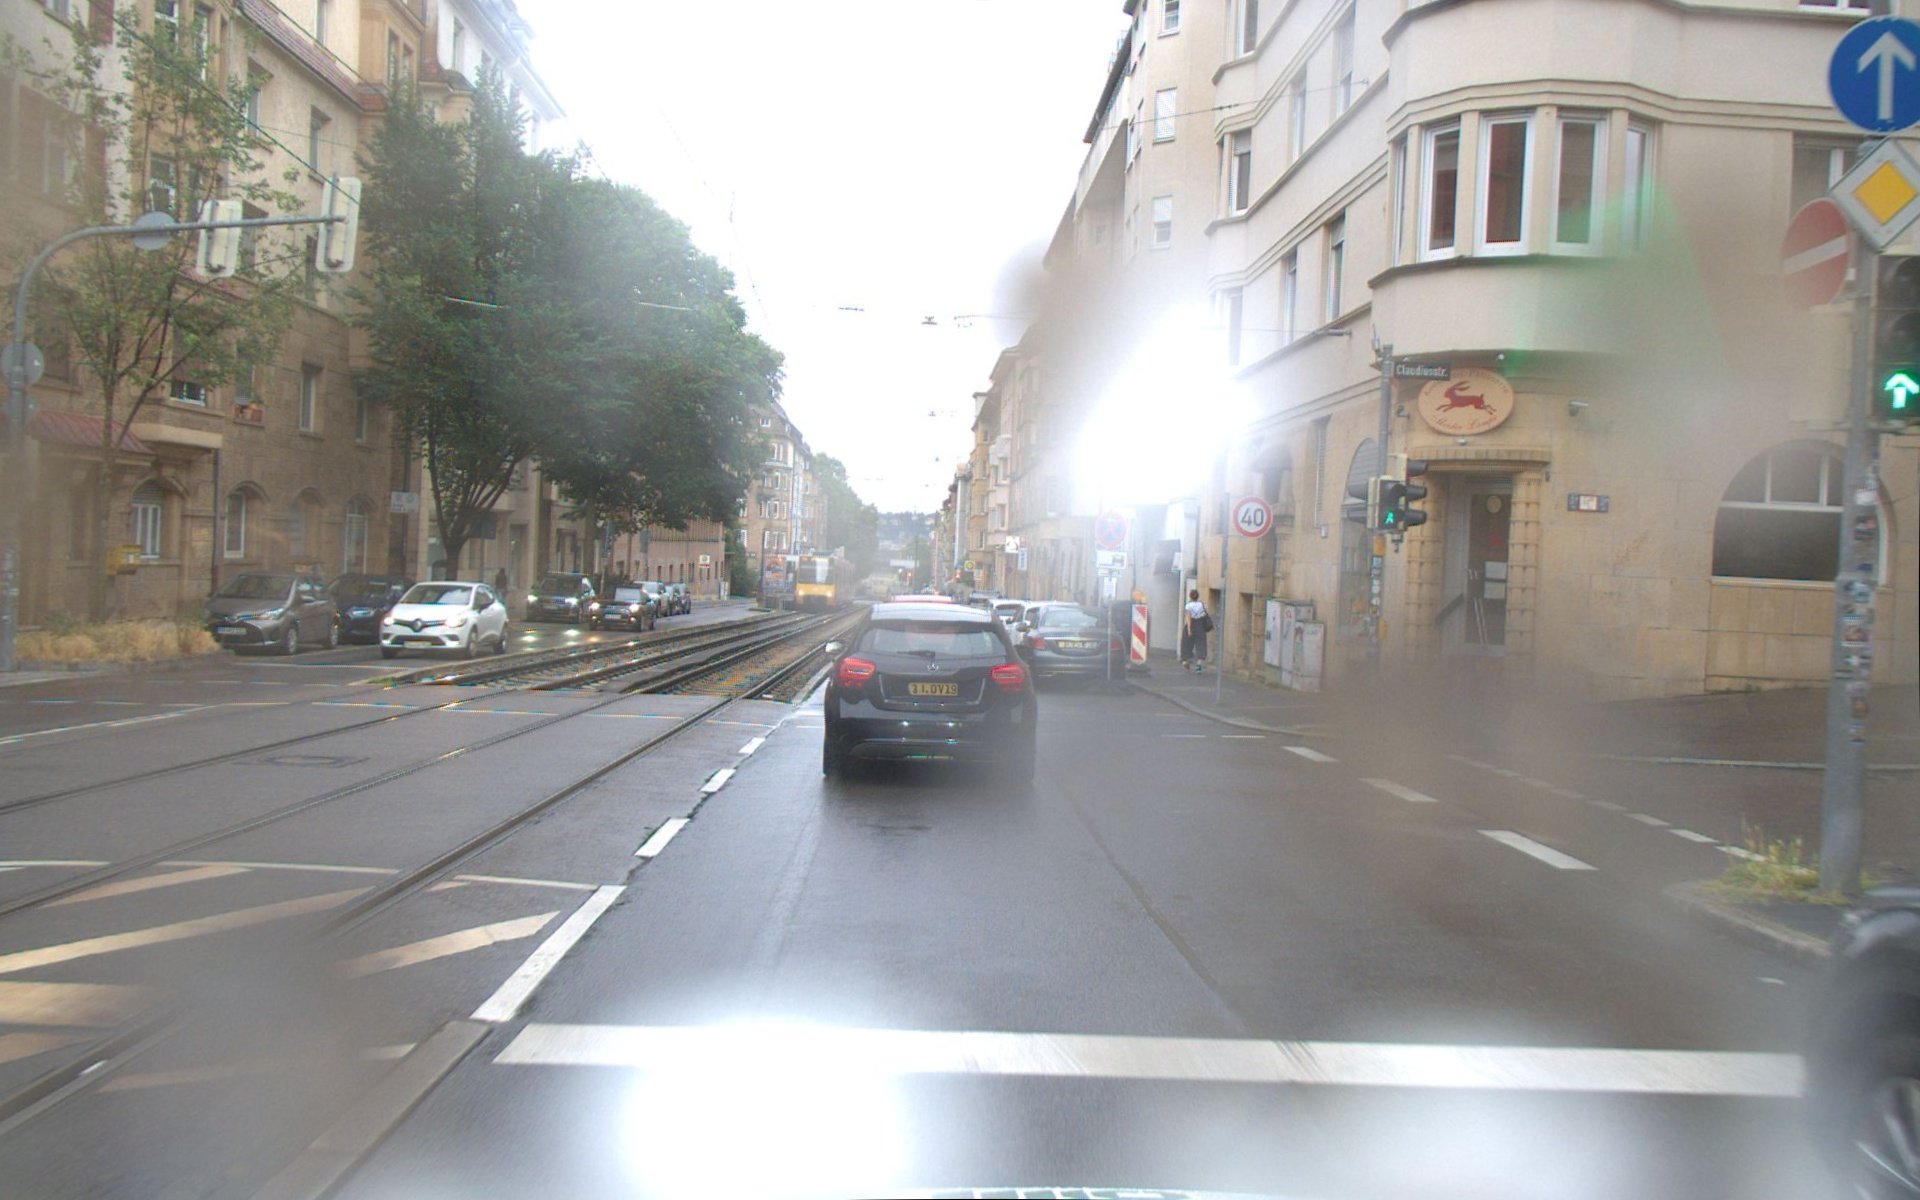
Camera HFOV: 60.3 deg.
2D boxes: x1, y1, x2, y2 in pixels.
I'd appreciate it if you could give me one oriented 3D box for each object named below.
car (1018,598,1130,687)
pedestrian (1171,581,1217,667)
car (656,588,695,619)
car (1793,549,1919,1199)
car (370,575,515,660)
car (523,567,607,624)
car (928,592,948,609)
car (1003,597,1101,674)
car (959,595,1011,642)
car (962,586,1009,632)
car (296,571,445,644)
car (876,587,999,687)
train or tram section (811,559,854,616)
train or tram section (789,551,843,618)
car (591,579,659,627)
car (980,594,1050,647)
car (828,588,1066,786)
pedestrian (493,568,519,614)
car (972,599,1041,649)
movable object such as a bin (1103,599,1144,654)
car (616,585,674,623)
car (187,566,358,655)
[{"bbox_3d":[1.974,0.726,29.754,1.675,1.435,4.817,1,-1,0],"label":"car"},{"bbox_3d":[4.759,0.479,33.692,0.788,1.717,0.754,1,-1,-2],"label":"pedestrian"},{"bbox_3d":[-14.421,0.179,83.976,1.541,1.492,3.043,2,0,-3],"label":"car"},{"bbox_3d":[2.999,0.707,2.039,1.830,1.576,3.990,2,0,-1],"label":"car"},{"bbox_3d":[-10.123,0.352,32.655,1.745,1.529,4.060,1,-1,-3],"label":"car"},{"bbox_3d":[-13.785,-0.162,57.984,1.914,1.772,4.776,5,0,-3],"label":"car"},{"bbox_3d":[-2.103,0.058,159.578,1.848,1.552,4.245,2,0,0],"label":"car"},{"bbox_3d":[1.884,0.727,35.120,1.677,1.493,4.772,1,-1,-1],"label":"car"},{"bbox_3d":[0.903,0.683,60.749,1.803,1.636,4.760,1,-1,1],"label":"car"},{"bbox_3d":[1.013,0.376,66.817,1.742,1.780,4.547,1,-1,-1],"label":"car"},{"bbox_3d":[-13.089,0.181,37.048,1.745,1.485,4.975,1,-1,-3],"label":"car"},{"bbox_3d":[-0.413,0.617,29.015,1.953,1.552,4.244,2,0,-1],"label":"car"},{"bbox_3d":[-9.800,-0.948,128.421,2.690,4.133,15.654,1,0,-2],"label":"train or tram section"},{"bbox_3d":[-9.612,-0.997,111.993,2.690,4.133,17.206,1,0,-2],"label":"train or tram section"},{"bbox_3d":[-10.753,0.103,53.291,1.620,1.488,3.732,0,0,-3],"label":"car"},{"bbox_3d":[1.557,0.596,48.175,1.753,1.410,4.393,1,-1,-2],"label":"car"},{"bbox_3d":[-0.140,0.682,14.693,1.797,1.478,3.900,2,0,-1],"label":"car"},{"bbox_3d":[-17.174,-0.326,62.584,0.713,1.692,0.770,2,0,-2],"label":"pedestrian"},{"bbox_3d":[1.432,0.758,52.840,1.796,1.493,4.372,1,-1,-4],"label":"car"},{"bbox_3d":[4.546,0.741,46.042,0.960,1.494,1.272,1,-1,-2],"label":"movable object such as a bin"},{"bbox_3d":[-14.277,0.164,75.240,1.922,1.633,4.326,2,0,-2],"label":"car"},{"bbox_3d":[-12.986,0.211,31.494,1.656,1.556,4.173,1,-1,-3],"label":"car"}]
